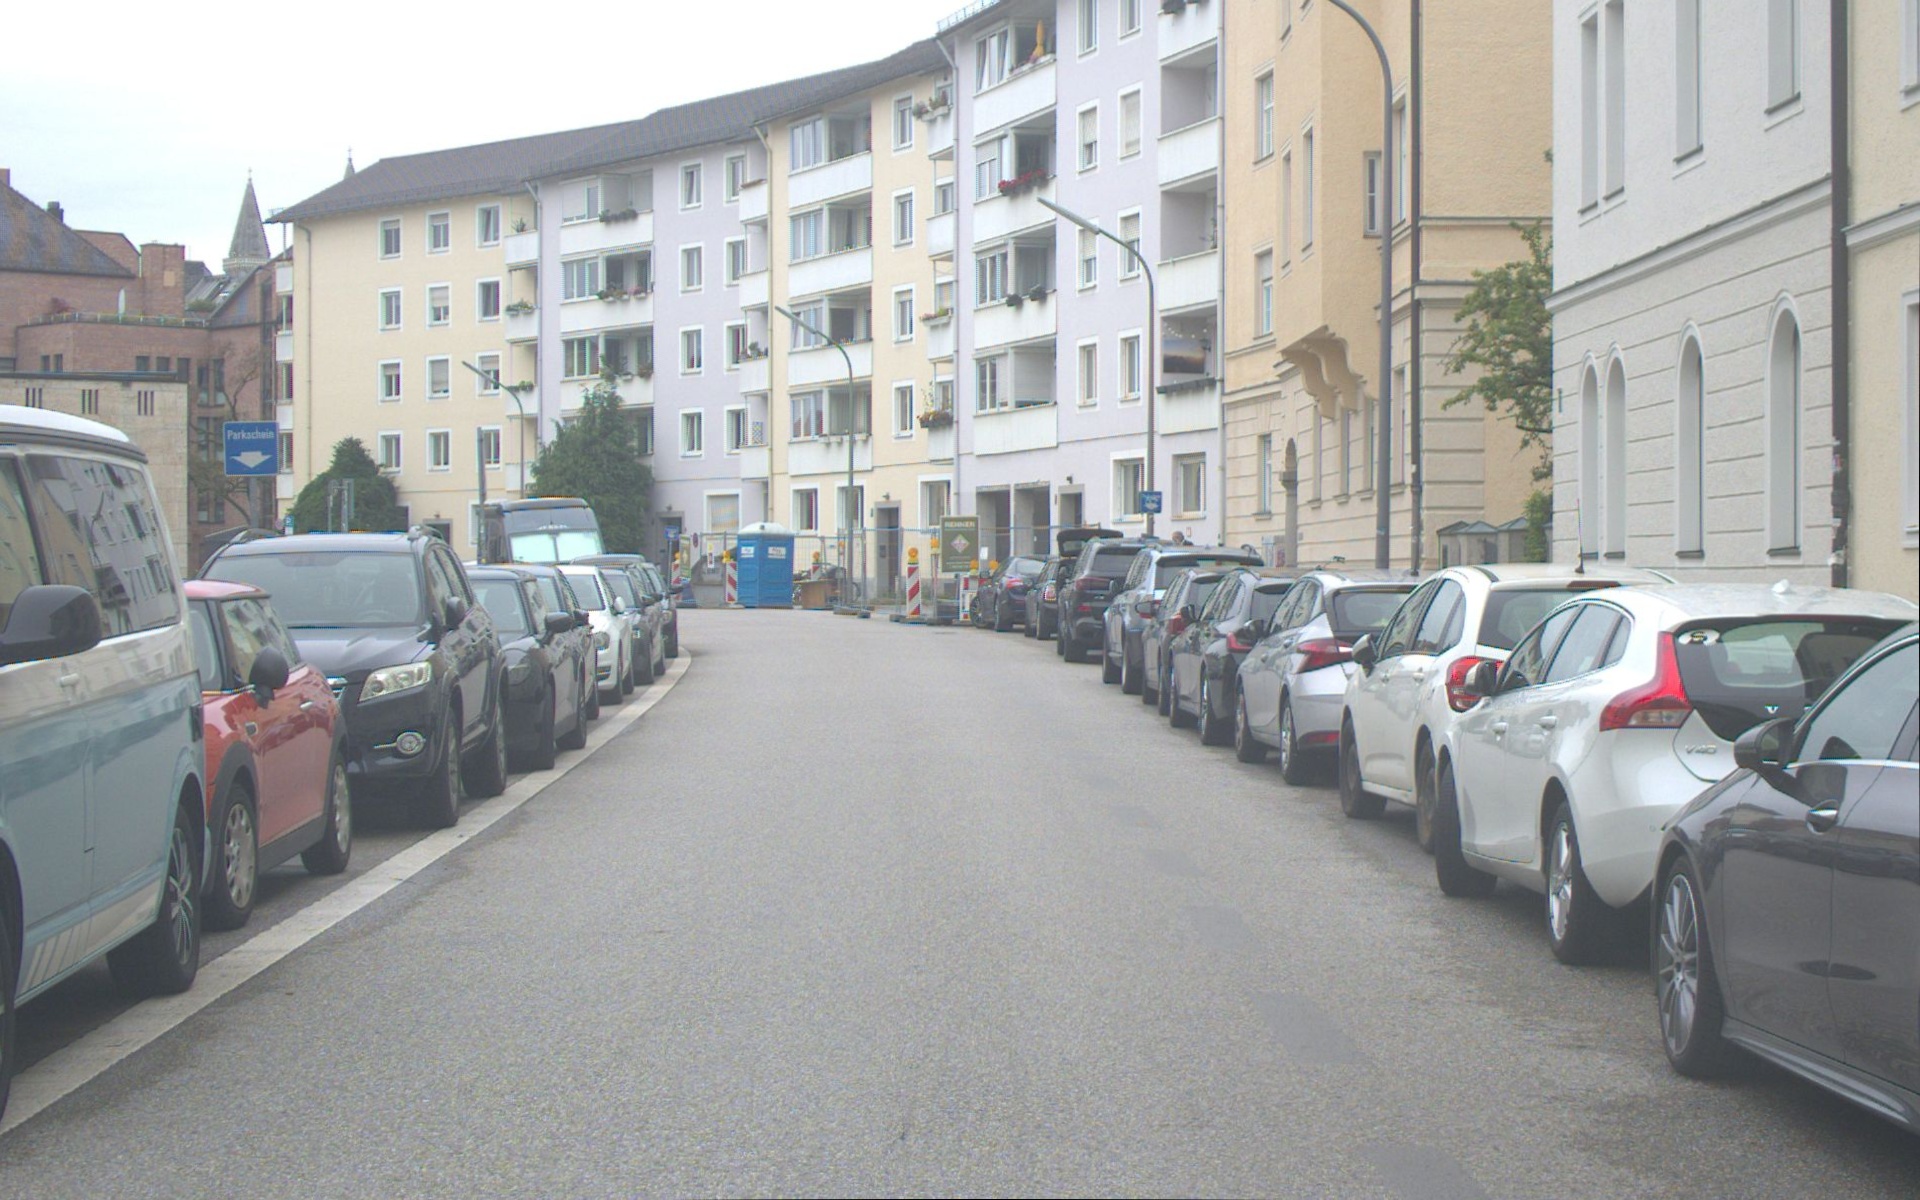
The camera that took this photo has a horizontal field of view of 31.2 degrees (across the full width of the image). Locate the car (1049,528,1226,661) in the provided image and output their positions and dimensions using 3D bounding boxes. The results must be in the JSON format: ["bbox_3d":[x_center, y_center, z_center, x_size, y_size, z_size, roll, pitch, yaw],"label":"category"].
[{"bbox_3d":[2.484,-0.130,49.439,2.170,1.733,5.024,1,2,-1],"label":"car"}]

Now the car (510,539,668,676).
[{"bbox_3d":[-4.457,0.051,41.779,1.630,1.489,4.276,-2,2,-3],"label":"car"}]

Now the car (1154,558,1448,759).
[{"bbox_3d":[2.794,0.429,29.162,1.875,1.445,4.678,1,2,-1],"label":"car"}]

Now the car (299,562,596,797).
[{"bbox_3d":[-3.713,0.523,25.462,1.631,1.489,3.820,-2,2,-1],"label":"car"}]

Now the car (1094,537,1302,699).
[{"bbox_3d":[2.643,0.152,39.178,1.846,1.658,4.499,1,2,-2],"label":"car"}]

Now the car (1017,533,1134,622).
[{"bbox_3d":[1.976,-0.414,59.642,1.630,1.412,3.680,1,2,-4],"label":"car"}]

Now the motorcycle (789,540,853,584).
[{"bbox_3d":[-3.977,-1.097,98.224,0.931,1.217,2.508,0,1,-25],"label":"motorcycle"}]

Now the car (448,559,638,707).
[{"bbox_3d":[-4.362,0.304,36.450,1.740,1.417,4.295,0,1,-4],"label":"car"}]

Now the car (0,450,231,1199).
[{"bbox_3d":[-3.495,0.540,10.210,1.914,1.953,4.962,1,2,-4],"label":"car"}]

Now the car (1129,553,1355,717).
[{"bbox_3d":[2.746,0.299,34.318,1.827,1.445,4.084,1,2,-1],"label":"car"}]

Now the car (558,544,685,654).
[{"bbox_3d":[-5.083,-0.053,51.568,1.773,1.460,4.467,-2,2,-6],"label":"car"}]

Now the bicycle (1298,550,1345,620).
[{"bbox_3d":[5.666,-0.245,53.953,0.502,1.045,2.138,-2,1,0],"label":"bicycle"}]

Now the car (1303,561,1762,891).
[{"bbox_3d":[3.045,0.606,19.065,1.650,1.538,3.994,1,2,-3],"label":"car"}]

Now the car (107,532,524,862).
[{"bbox_3d":[-3.686,0.475,20.345,1.714,1.683,4.141,-1,2,-1],"label":"car"}]

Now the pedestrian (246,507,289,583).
[{"bbox_3d":[-17.326,-1.378,85.993,0.842,1.860,0.714,0,1,-29],"label":"pedestrian"}]

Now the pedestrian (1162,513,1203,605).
[{"bbox_3d":[4.157,-0.771,64.202,0.617,1.684,0.919,-3,1,-1],"label":"pedestrian"}]

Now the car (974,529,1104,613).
[{"bbox_3d":[1.466,-0.589,65.903,1.908,1.472,4.947,1,2,-5],"label":"car"}]

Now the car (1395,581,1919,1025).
[{"bbox_3d":[3.000,0.703,14.125,1.725,1.425,4.294,1,2,-2],"label":"car"}]

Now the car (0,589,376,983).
[{"bbox_3d":[-3.777,0.725,15.080,1.804,1.402,3.709,-2,2,-1],"label":"car"}]

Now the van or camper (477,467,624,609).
[{"bbox_3d":[-7.988,-1.218,66.615,2.296,2.572,6.088,1,1,-11],"label":"van or camper"}]

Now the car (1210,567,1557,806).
[{"bbox_3d":[2.882,0.539,24.260,1.724,1.445,4.188,2,1,-2],"label":"car"}]

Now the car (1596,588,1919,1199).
[{"bbox_3d":[2.961,0.760,8.515,1.773,1.425,4.616,1,2,-1],"label":"car"}]

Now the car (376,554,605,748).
[{"bbox_3d":[-4.102,0.396,30.545,1.630,1.489,4.101,-2,2,-3],"label":"car"}]
